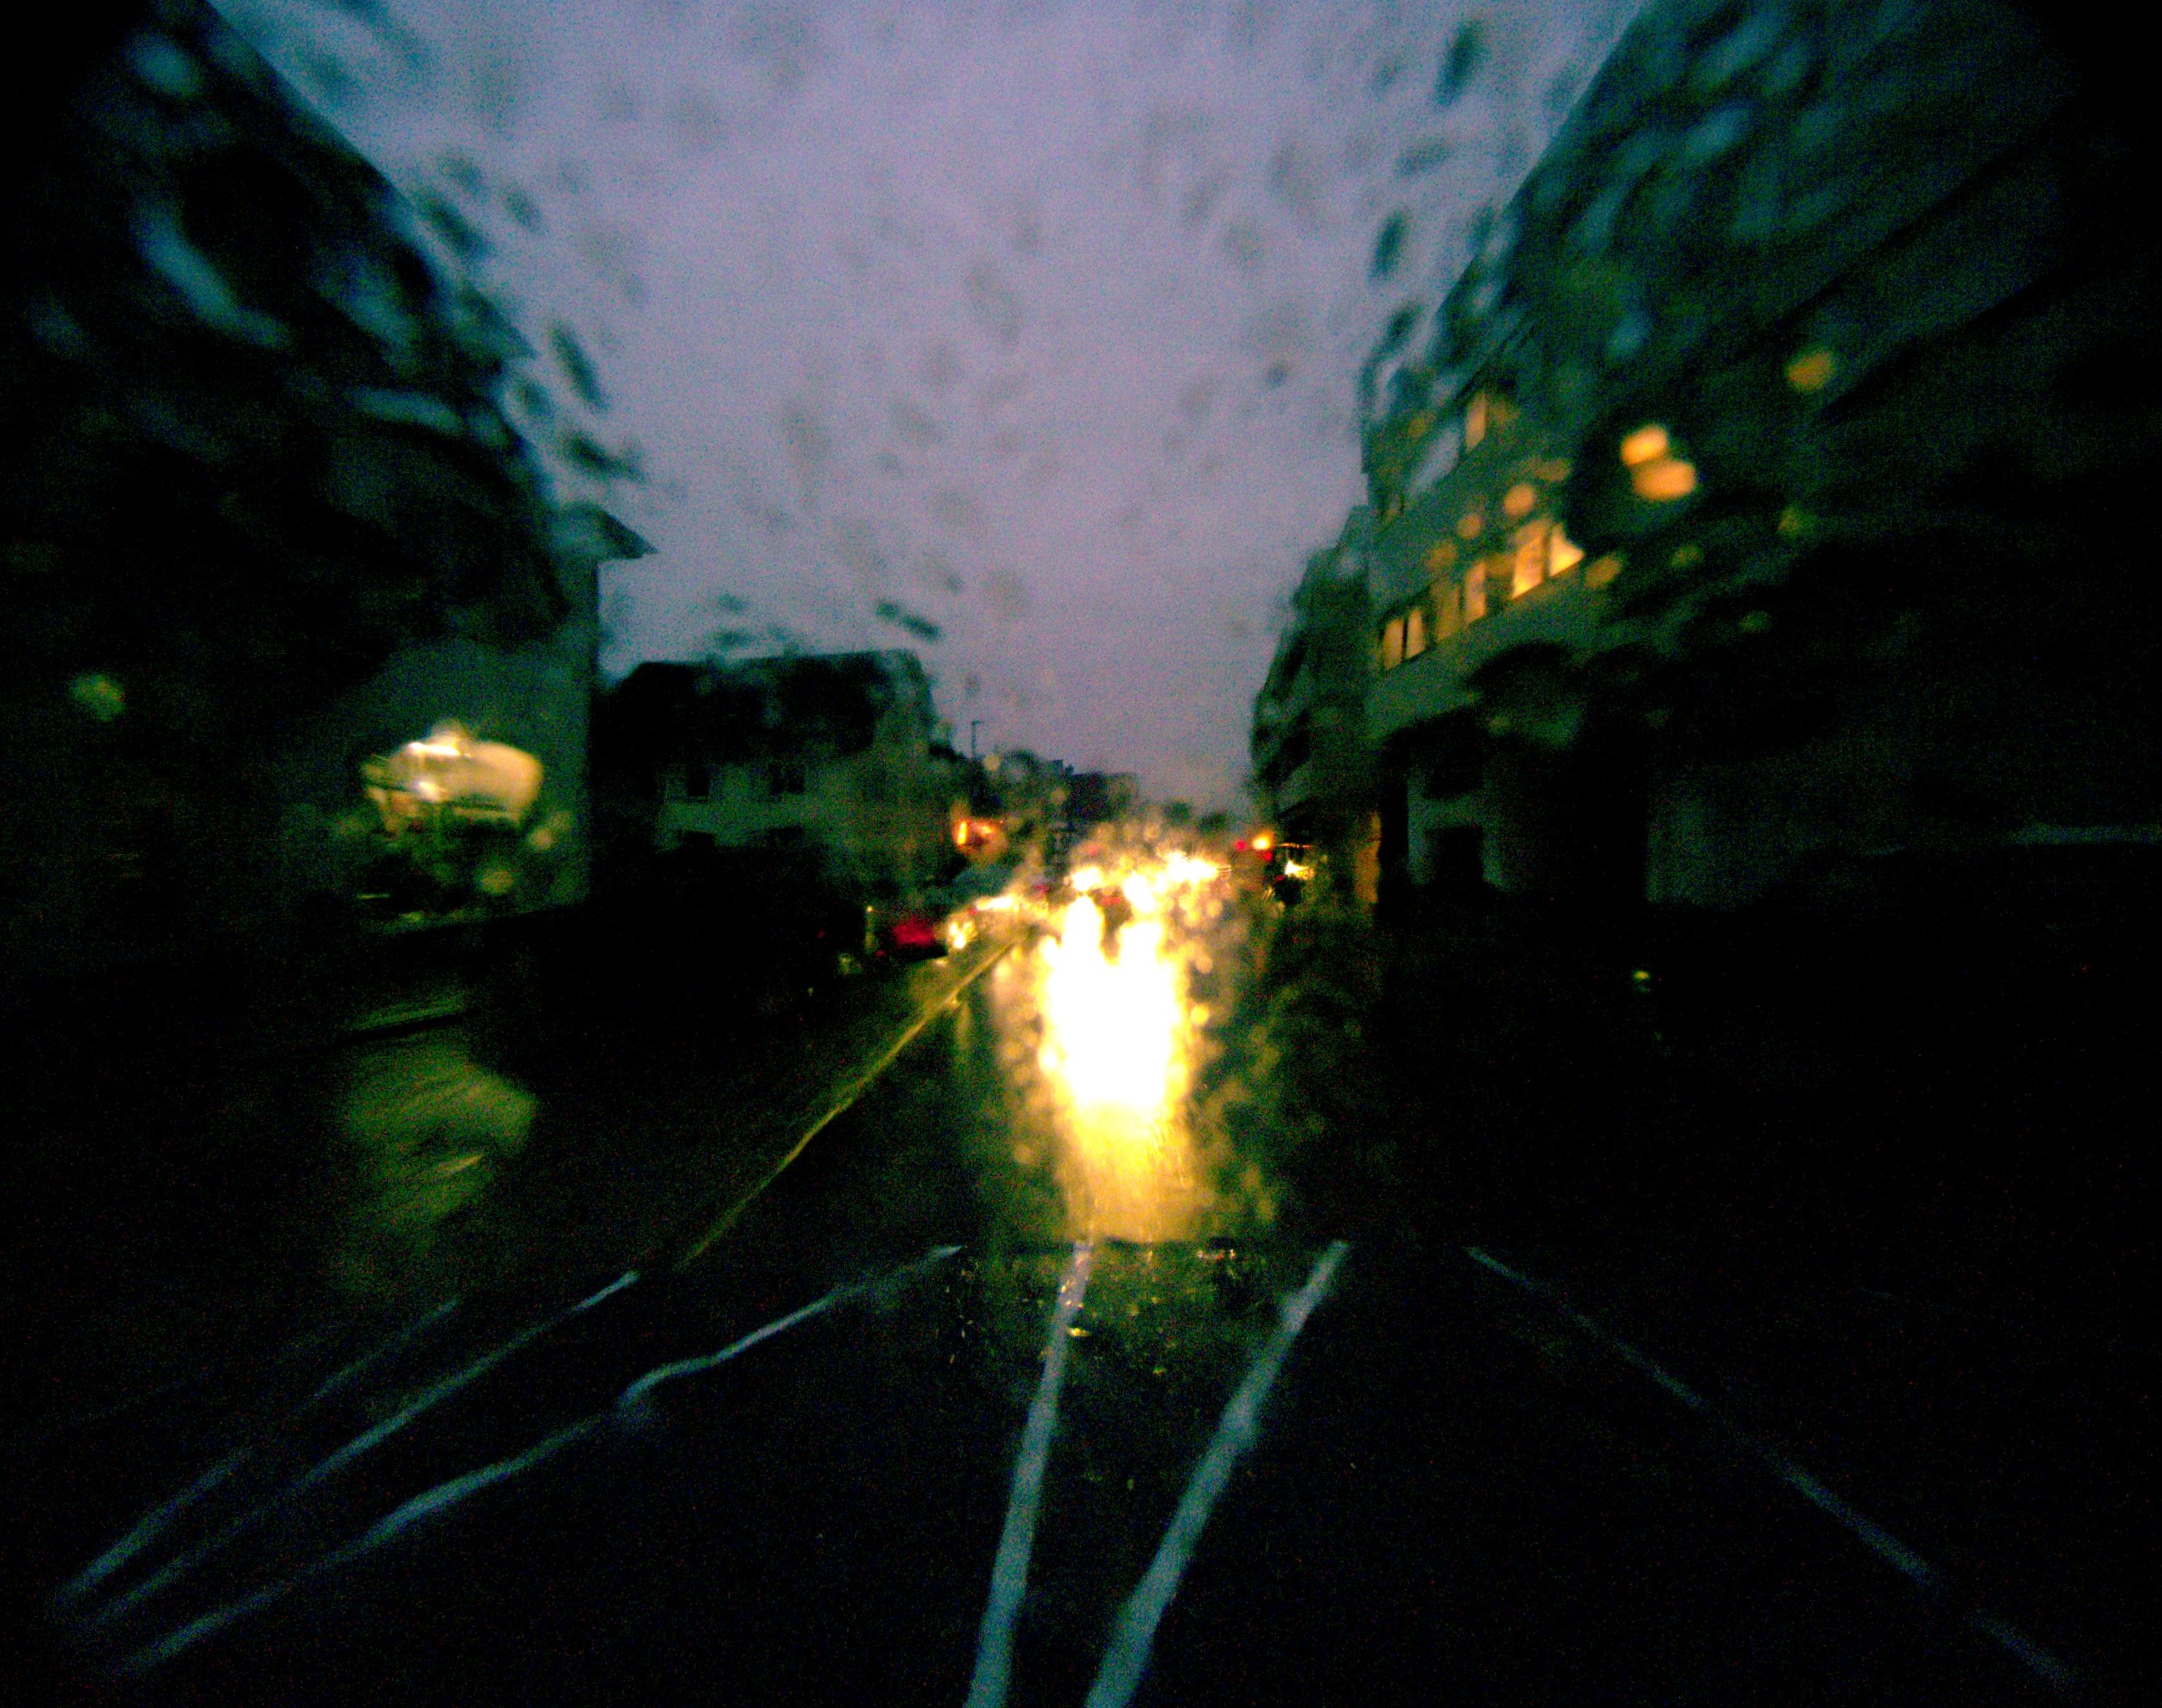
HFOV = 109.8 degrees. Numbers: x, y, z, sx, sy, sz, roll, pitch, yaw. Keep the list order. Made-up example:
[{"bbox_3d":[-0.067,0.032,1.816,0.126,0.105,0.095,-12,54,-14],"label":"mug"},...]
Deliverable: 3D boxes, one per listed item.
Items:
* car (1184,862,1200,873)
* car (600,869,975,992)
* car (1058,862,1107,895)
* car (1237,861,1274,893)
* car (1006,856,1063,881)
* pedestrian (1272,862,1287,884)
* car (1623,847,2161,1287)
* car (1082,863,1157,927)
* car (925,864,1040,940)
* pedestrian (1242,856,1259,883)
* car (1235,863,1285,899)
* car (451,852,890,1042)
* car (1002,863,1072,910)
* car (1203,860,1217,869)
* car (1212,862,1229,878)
[{"bbox_3d":[16.957,2.048,116.236,1.796,1.501,4.006,1,0,17],"label":"car"},{"bbox_3d":[-3.860,0.992,10.615,4.478,1.464,1.898,1,0,0],"label":"car"},{"bbox_3d":[0.150,1.174,37.981,1.826,1.414,4.611,2,0,8],"label":"car"},{"bbox_3d":[9.073,1.178,39.693,1.618,1.523,3.931,-2,0,9],"label":"car"},{"bbox_3d":[-2.980,0.924,49.002,3.295,1.433,1.687,3,1,8],"label":"car"},{"bbox_3d":[12.132,1.174,46.407,0.757,1.302,0.829,-1,0,7],"label":"pedestrian"},{"bbox_3d":[4.962,0.799,3.787,1.799,1.633,3.812,-2,0,1],"label":"car"},{"bbox_3d":[1.165,1.061,21.298,1.878,1.622,4.002,0,-1,5],"label":"car"},{"bbox_3d":[-2.193,1.041,18.255,1.886,1.538,4.673,1,0,3],"label":"car"},{"bbox_3d":[12.401,1.111,55.548,1.200,1.926,0.978,0,0,16],"label":"pedestrian"},{"bbox_3d":[7.923,1.151,33.988,1.678,1.438,4.431,-2,-1,7],"label":"car"},{"bbox_3d":[-3.914,0.874,7.781,3.514,1.671,1.715,2,0,-4],"label":"car"},{"bbox_3d":[-1.512,1.107,27.551,1.798,1.452,4.533,1,0,6],"label":"car"},{"bbox_3d":[23.010,1.875,135.480,1.796,1.501,4.006,1,0,17],"label":"car"},{"bbox_3d":[15.433,1.735,84.056,1.724,1.604,3.819,-2,-1,10],"label":"car"}]
